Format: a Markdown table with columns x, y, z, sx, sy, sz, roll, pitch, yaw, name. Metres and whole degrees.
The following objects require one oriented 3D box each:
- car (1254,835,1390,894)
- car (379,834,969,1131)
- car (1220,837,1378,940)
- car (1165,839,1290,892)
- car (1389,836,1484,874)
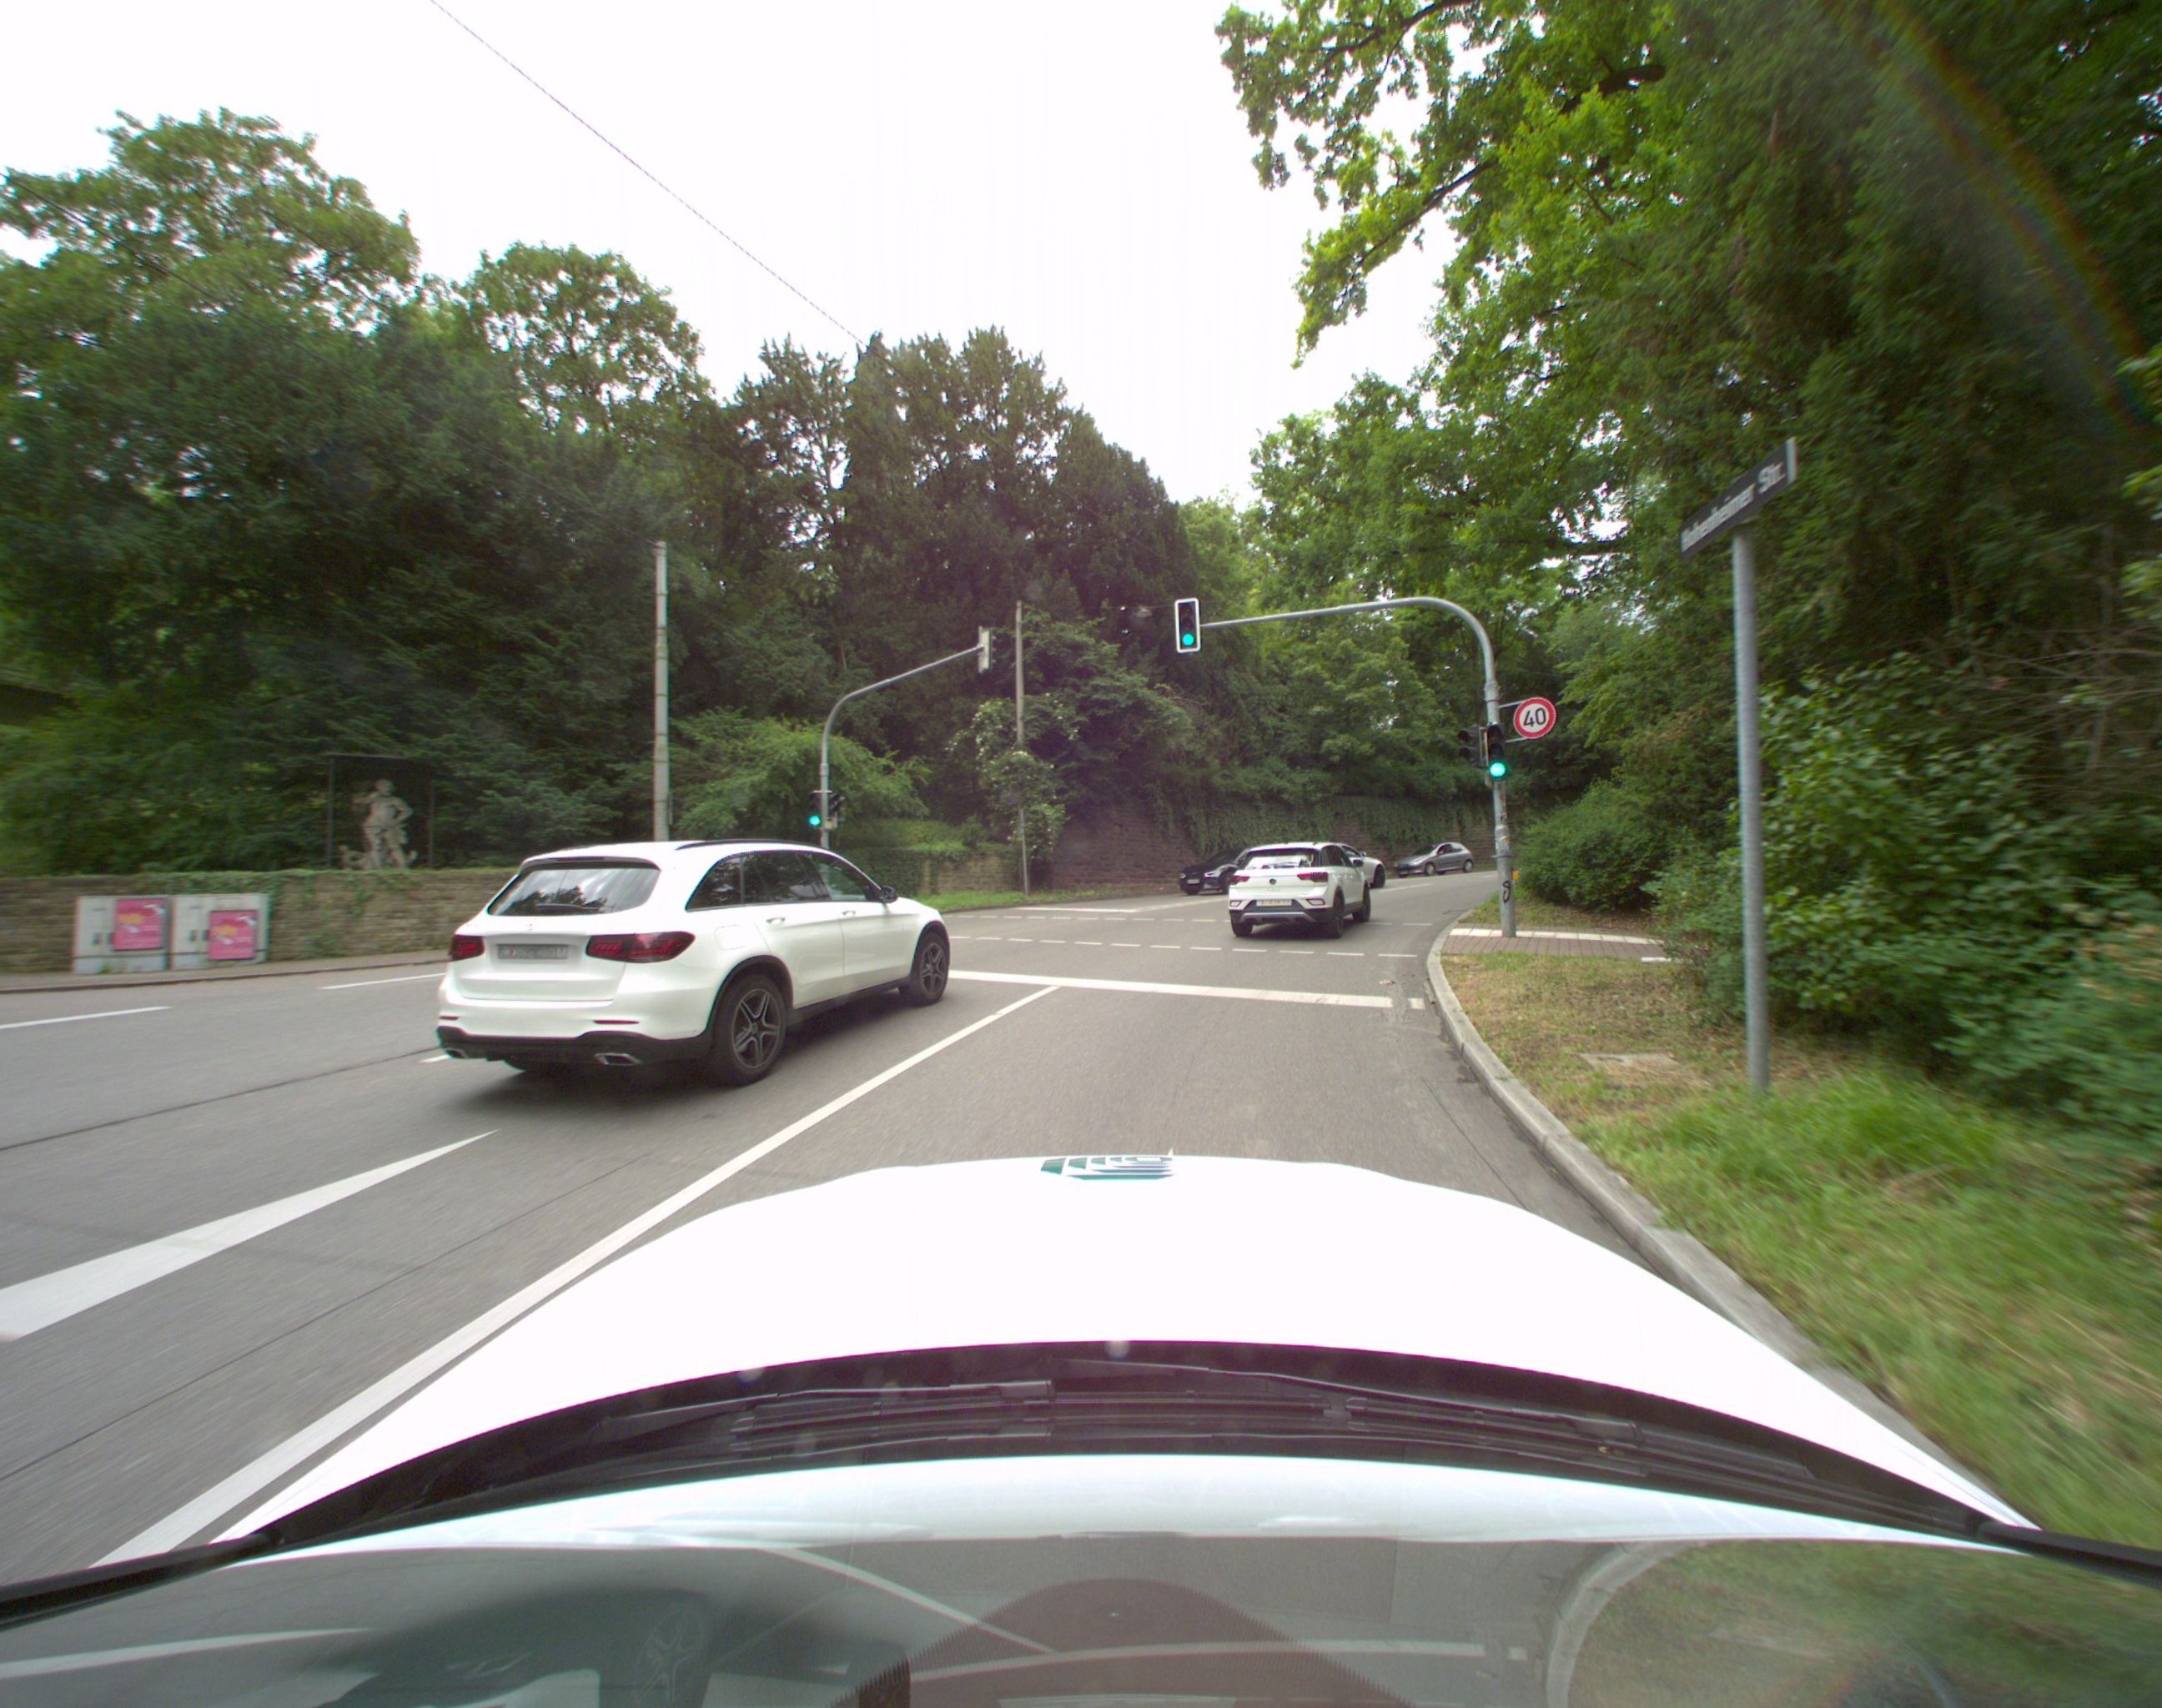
| x | y | z | sx | sy | sz | roll | pitch | yaw | name |
| --- | --- | --- | --- | --- | --- | --- | --- | --- | --- |
| 7.237 | 0.238 | 24.184 | 1.847 | 1.534 | 4.805 | -1 | 1 | 44 | car |
| -2.687 | 0.688 | 6.883 | 1.846 | 1.605 | 4.688 | -1 | 0 | 13 | car |
| 4.073 | 0.505 | 14.672 | 1.738 | 1.552 | 4.364 | -1 | 1 | 28 | car |
| 5.007 | 0.361 | 27.543 | 4.421 | 1.543 | 1.617 | -3 | -1 | -40 | car |
| 15.448 | 0.040 | 35.373 | 3.760 | 1.418 | 1.599 | -2 | -1 | -24 | car |
